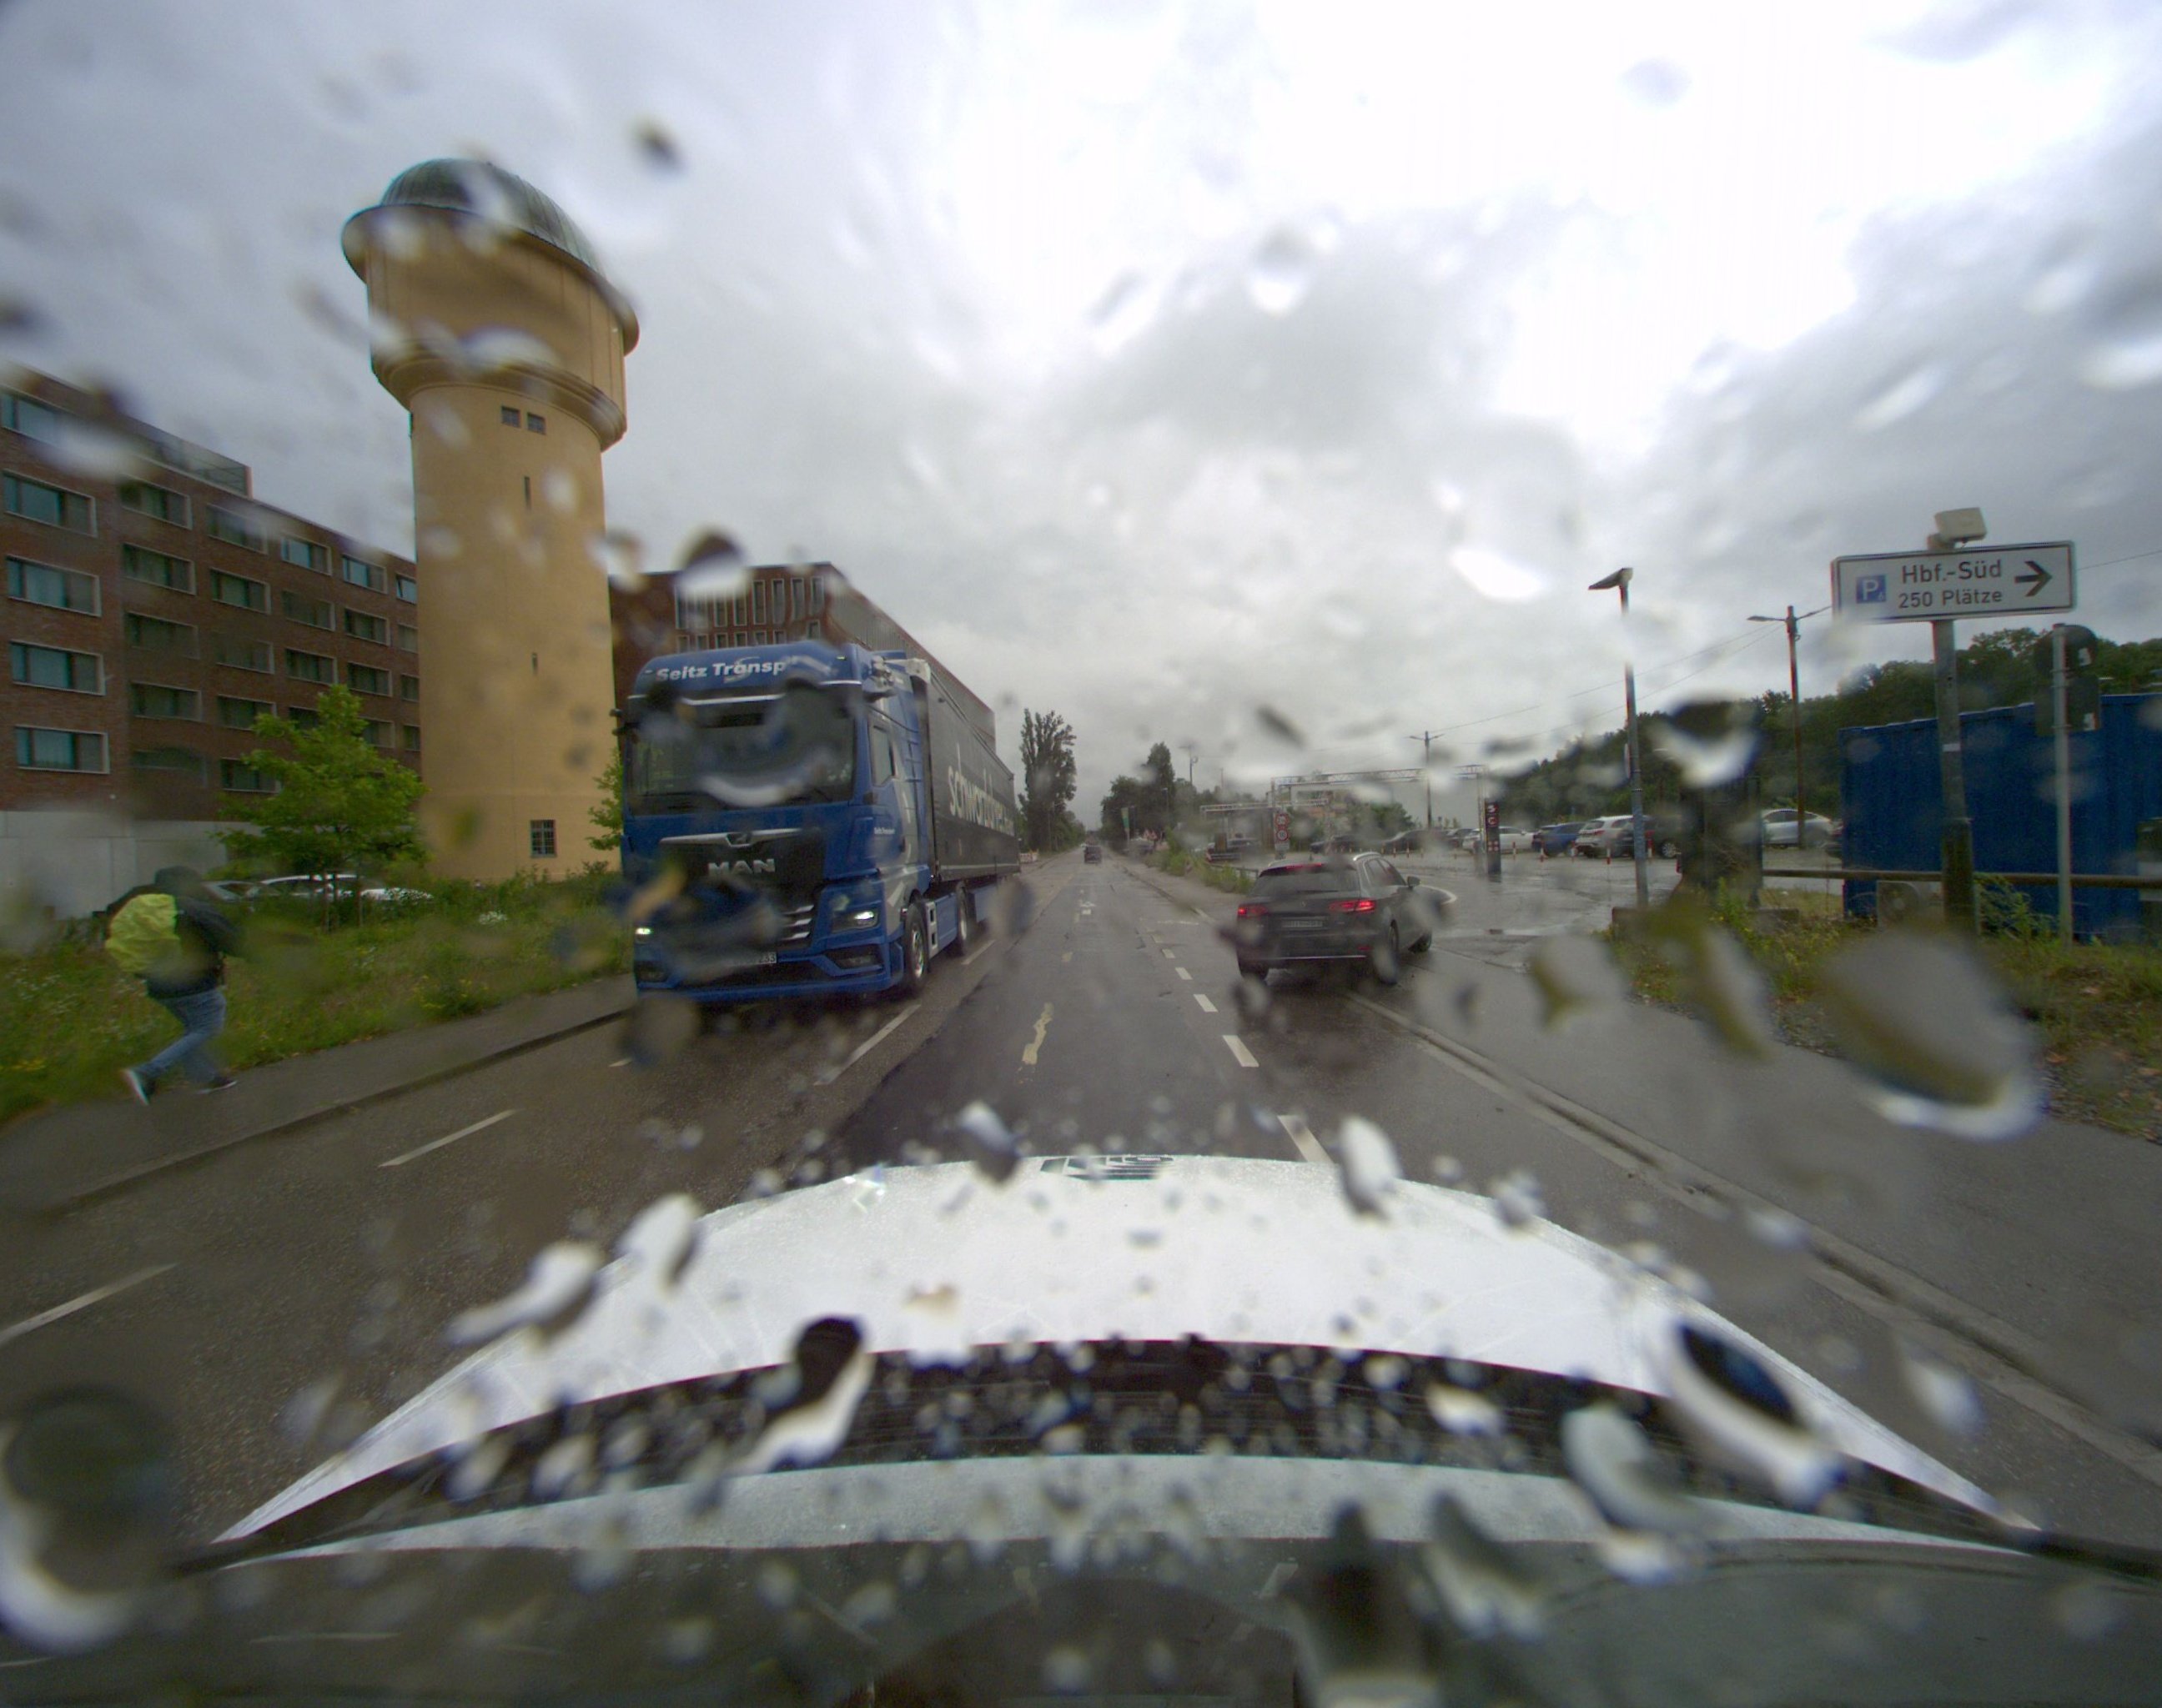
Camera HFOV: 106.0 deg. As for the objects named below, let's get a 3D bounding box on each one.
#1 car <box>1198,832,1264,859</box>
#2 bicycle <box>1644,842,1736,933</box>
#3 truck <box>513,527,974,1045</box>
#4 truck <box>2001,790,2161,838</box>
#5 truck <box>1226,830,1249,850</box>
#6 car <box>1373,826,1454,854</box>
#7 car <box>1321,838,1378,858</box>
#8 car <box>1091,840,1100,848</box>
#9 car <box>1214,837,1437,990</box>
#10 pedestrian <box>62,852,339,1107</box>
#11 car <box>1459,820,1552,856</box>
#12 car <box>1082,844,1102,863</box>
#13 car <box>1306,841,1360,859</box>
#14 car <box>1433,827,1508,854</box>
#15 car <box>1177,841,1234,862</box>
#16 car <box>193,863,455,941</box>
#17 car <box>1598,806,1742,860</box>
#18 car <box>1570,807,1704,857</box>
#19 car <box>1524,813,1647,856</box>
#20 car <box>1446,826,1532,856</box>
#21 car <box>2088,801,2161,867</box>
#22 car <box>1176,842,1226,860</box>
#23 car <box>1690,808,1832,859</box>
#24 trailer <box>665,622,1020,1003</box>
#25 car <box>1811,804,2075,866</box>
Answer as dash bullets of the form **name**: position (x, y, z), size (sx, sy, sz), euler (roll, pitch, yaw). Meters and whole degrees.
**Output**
- **car**: position (11.275, -0.600, 61.533), size (4.658, 1.735, 2.131), euler (-3, -1, 5)
- **bicycle**: position (7.894, 0.396, 10.626), size (0.502, 1.084, 1.712), euler (-3, 0, 22)
- **truck**: position (-3.504, -0.648, 10.534), size (3.284, 4.653, 6.031), euler (-2, 0, -1)
- **truck**: position (49.856, -1.934, 40.806), size (2.062, 2.138, 5.093), euler (-3, 0, 6)
- **truck**: position (22.766, -2.078, 118.976), size (2.290, 2.659, 7.425), euler (-3, 1, 4)
- **car**: position (22.038, -0.911, 54.076), size (4.612, 1.716, 2.015), euler (-1, -1, -5)
- **car**: position (21.611, -0.446, 65.678), size (3.972, 1.485, 2.001), euler (-1, -1, 1)
- **car**: position (3.339, -2.302, 188.173), size (1.722, 1.687, 3.901), euler (-2, 0, 3)
- **car**: position (3.353, 0.588, 10.518), size (1.876, 1.456, 4.254), euler (-2, 1, 29)
- **pedestrian**: position (-6.535, 0.864, 6.121), size (0.905, 1.718, 1.027), euler (-2, 0, 1)
- **car**: position (22.271, -0.819, 42.843), size (3.813, 1.484, 1.930), euler (-5, -1, 3)
- **car**: position (1.101, -0.071, 85.111), size (1.987, 1.910, 4.200), euler (-3, 0, 0)
- **car**: position (21.240, -0.350, 68.768), size (3.972, 1.409, 2.001), euler (-1, -1, 1)
- **car**: position (28.345, -0.977, 59.425), size (4.427, 1.605, 2.043), euler (-4, -1, 0)
- **car**: position (9.827, -0.167, 64.449), size (4.280, 1.517, 1.820), euler (-1, -1, 1)
- **car**: position (-18.706, 1.140, 20.322), size (4.509, 1.641, 1.998), euler (-2, 0, -2)
- **car**: position (21.140, -0.735, 29.354), size (3.758, 1.584, 1.788), euler (-5, -1, 3)
- **car**: position (21.787, -0.848, 32.026), size (3.886, 1.584, 1.788), euler (-5, -1, 3)
- **car**: position (21.707, -0.820, 35.169), size (4.027, 1.484, 1.930), euler (-5, -1, 3)
- **car**: position (27.251, -0.859, 54.498), size (4.687, 1.605, 2.043), euler (-4, -1, 0)
- **car**: position (21.889, -0.490, 15.183), size (3.868, 1.221, 1.650), euler (-4, -1, 6)
- **car**: position (10.494, -0.255, 71.566), size (4.166, 1.510, 1.891), euler (-1, -1, 1)
- **car**: position (27.062, -0.803, 32.494), size (4.049, 1.659, 1.831), euler (-4, -1, -1)
- **trailer**: position (-3.497, -0.543, 17.068), size (3.284, 4.653, 13.729), euler (-2, 0, 0)
- **car**: position (21.610, -0.443, 20.569), size (4.573, 1.221, 1.978), euler (-4, -1, -1)
